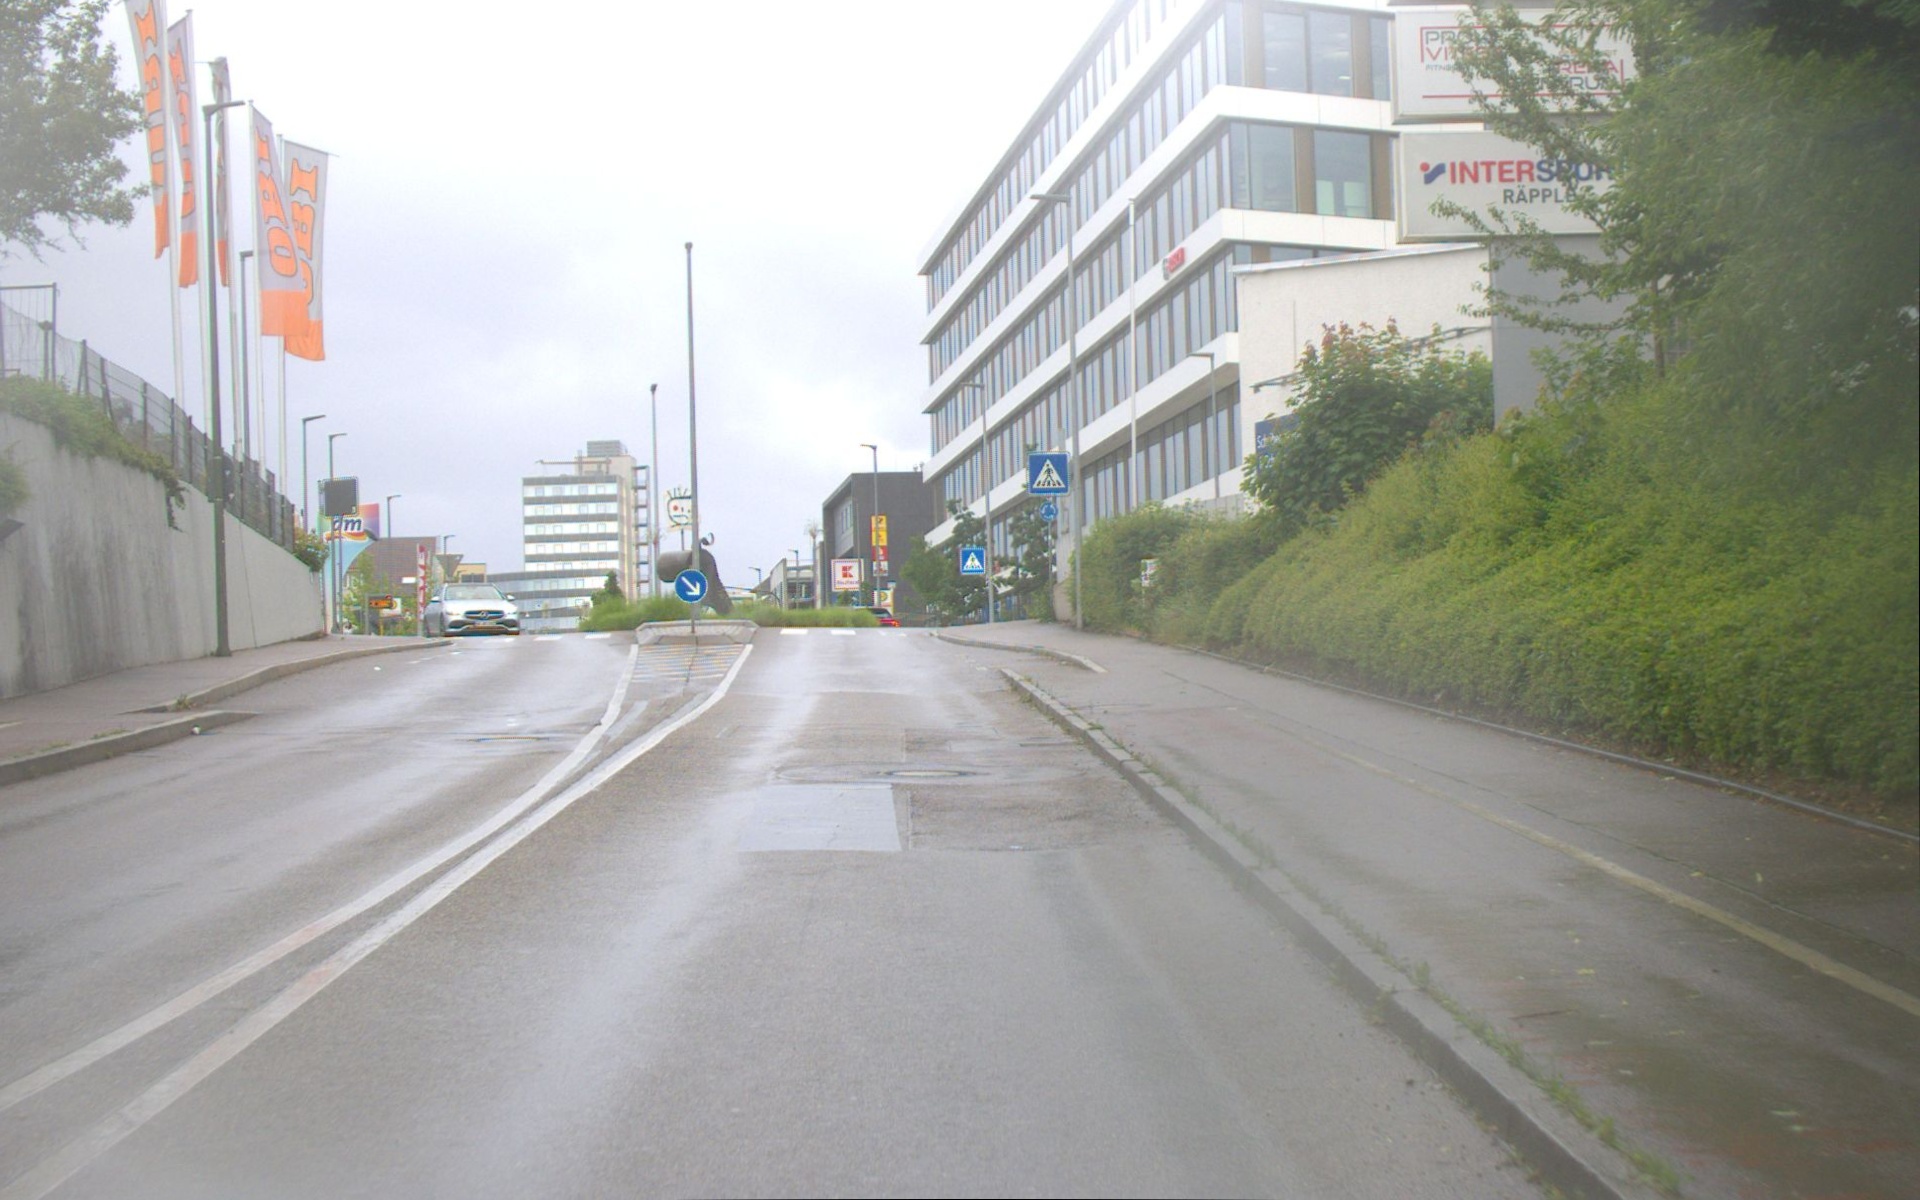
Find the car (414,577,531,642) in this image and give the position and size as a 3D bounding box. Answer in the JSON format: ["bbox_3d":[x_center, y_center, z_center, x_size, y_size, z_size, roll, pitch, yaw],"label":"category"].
[{"bbox_3d":[-11.887,0.211,83.598,2.000,1.421,4.783,-2,2,-18],"label":"car"}]
